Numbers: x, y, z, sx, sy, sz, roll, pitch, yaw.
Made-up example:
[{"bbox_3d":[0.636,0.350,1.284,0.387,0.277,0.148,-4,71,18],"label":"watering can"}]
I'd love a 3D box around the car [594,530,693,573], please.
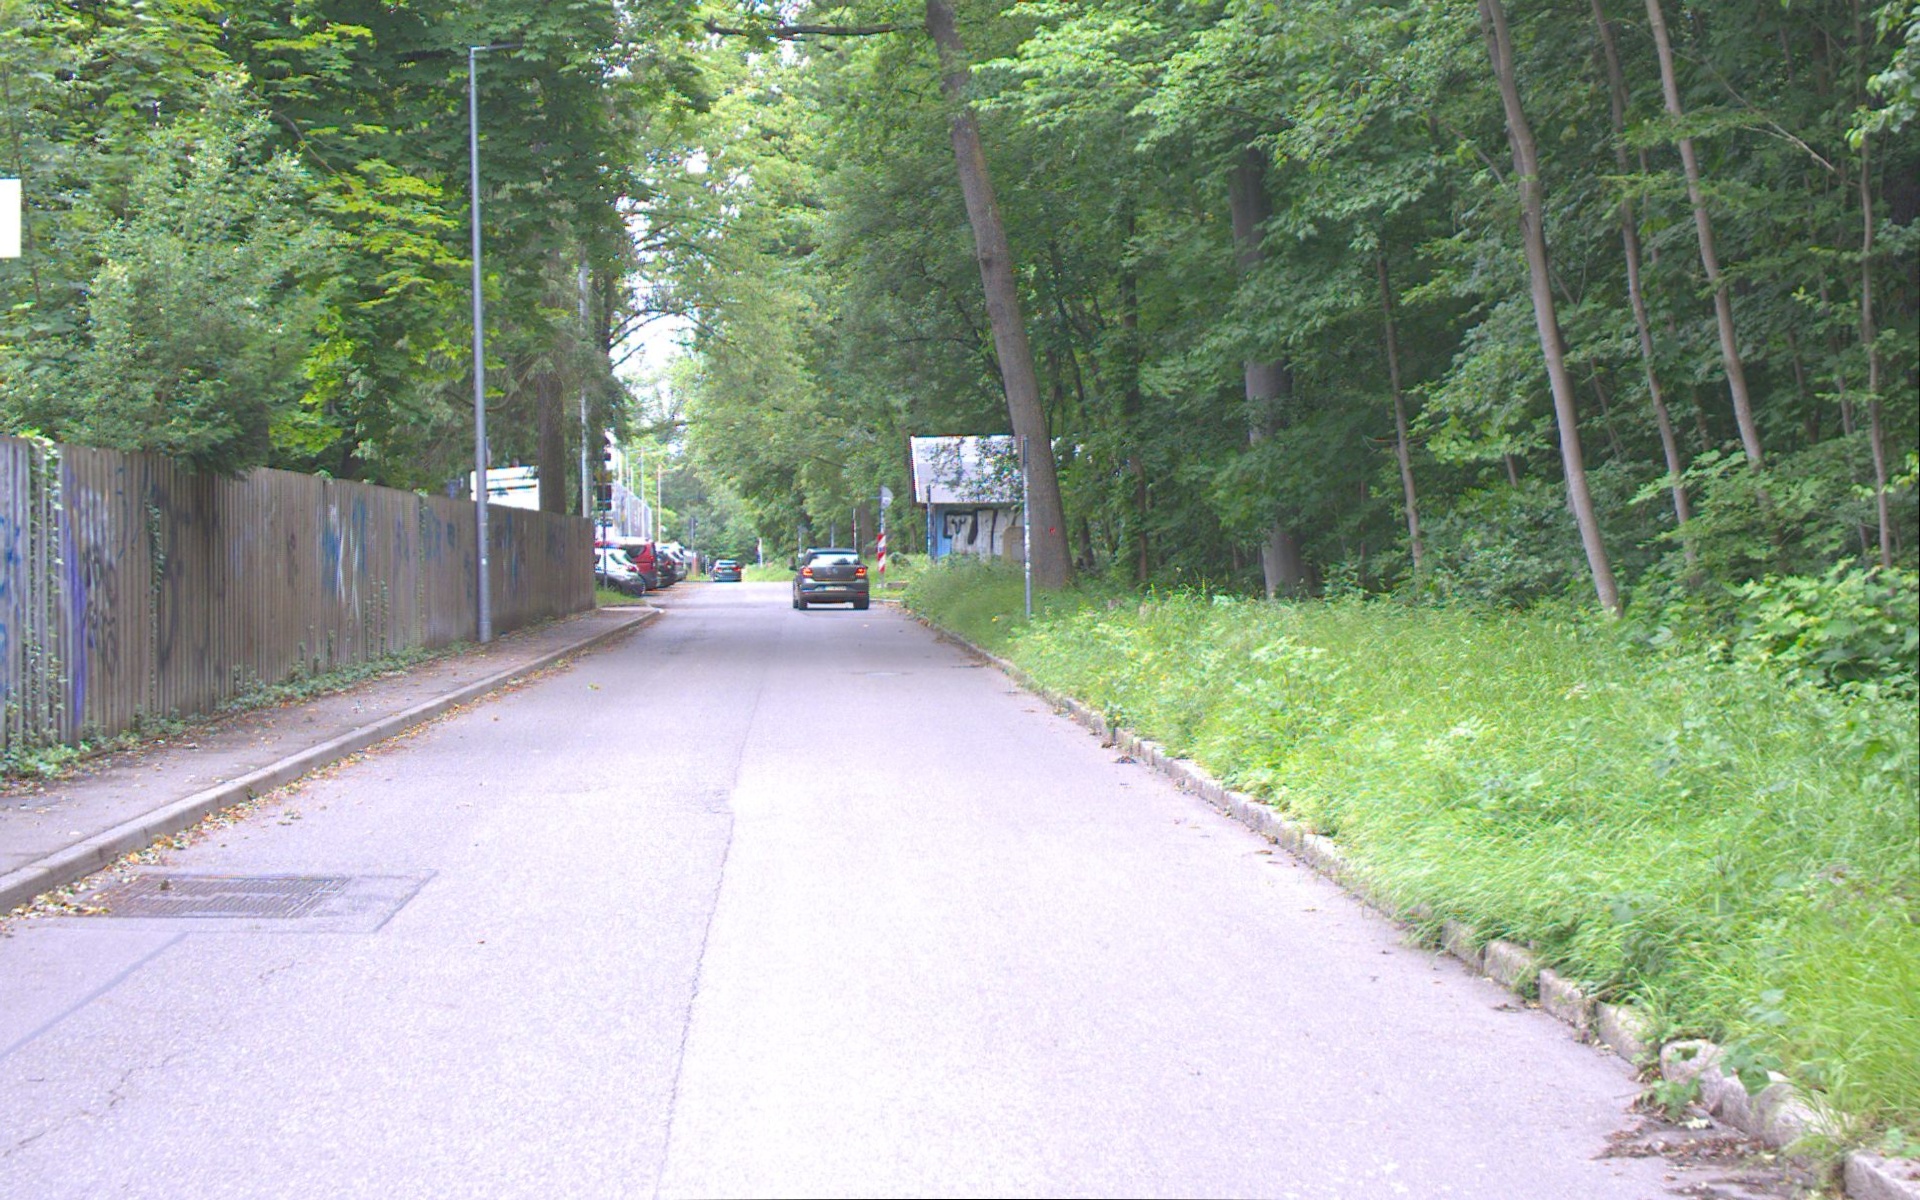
[{"bbox_3d":[-13.224,-2.014,143.620,3.986,1.590,1.765,-3,0,-3],"label":"car"}]

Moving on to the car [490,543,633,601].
[{"bbox_3d":[-11.427,-0.809,98.587,3.986,1.568,2.000,-1,1,-6],"label":"car"}]

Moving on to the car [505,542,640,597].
[{"bbox_3d":[-11.733,-0.935,104.203,3.986,1.568,2.000,-1,1,-6],"label":"car"}]

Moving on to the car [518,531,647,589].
[{"bbox_3d":[-11.997,-1.278,109.282,3.986,1.744,2.000,-1,1,-6],"label":"car"}]

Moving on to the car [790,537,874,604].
[{"bbox_3d":[-3.015,-0.696,81.567,1.907,1.503,4.000,2,0,-2],"label":"car"}]

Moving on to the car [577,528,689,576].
[{"bbox_3d":[-12.155,-1.791,127.982,3.986,1.590,1.765,-3,0,-3],"label":"car"}]

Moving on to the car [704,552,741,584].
[{"bbox_3d":[-15.121,-2.037,218.904,1.993,2.007,4.001,-1,1,-8],"label":"car"}]

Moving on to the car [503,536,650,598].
[{"bbox_3d":[-10.741,-0.935,96.282,3.986,1.568,2.000,-2,1,-6],"label":"car"}]
